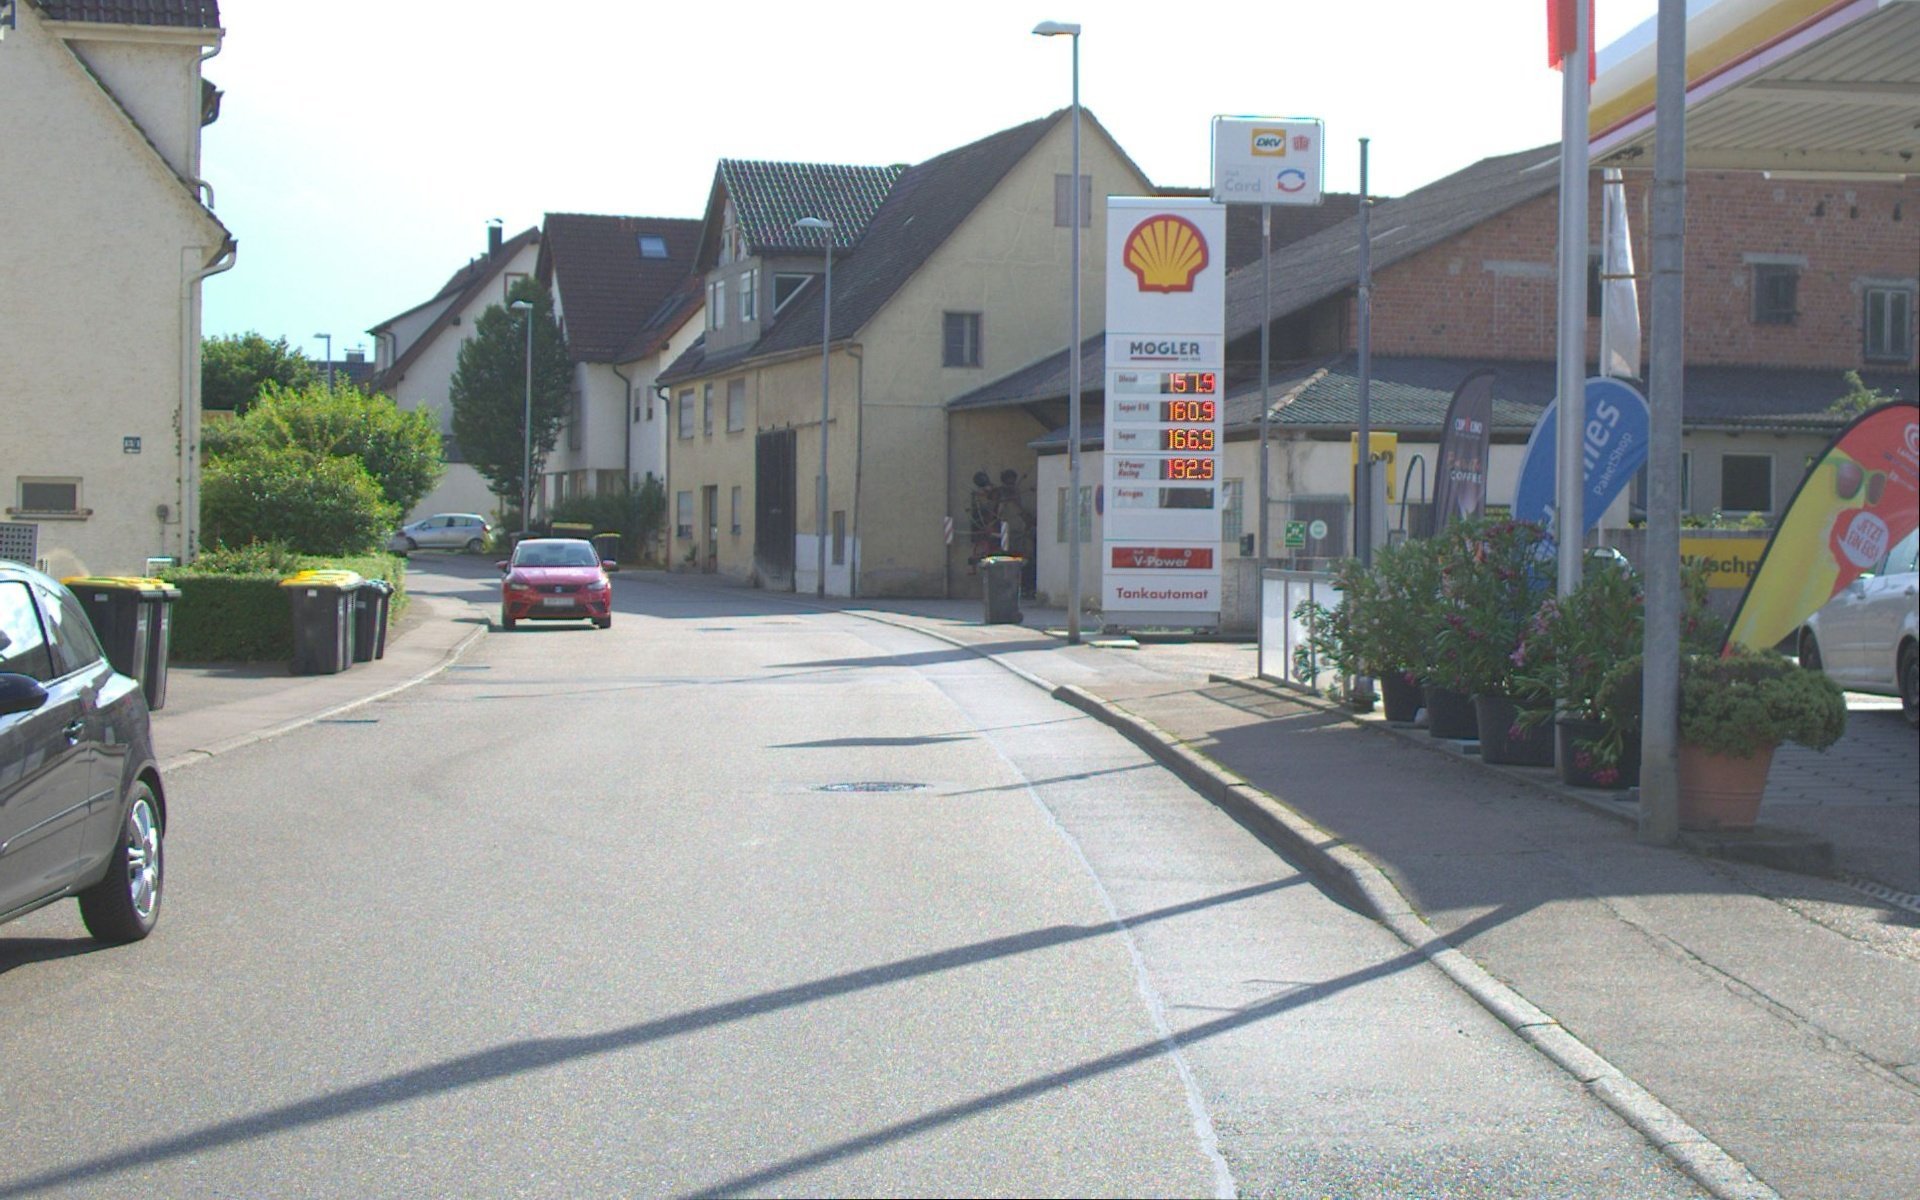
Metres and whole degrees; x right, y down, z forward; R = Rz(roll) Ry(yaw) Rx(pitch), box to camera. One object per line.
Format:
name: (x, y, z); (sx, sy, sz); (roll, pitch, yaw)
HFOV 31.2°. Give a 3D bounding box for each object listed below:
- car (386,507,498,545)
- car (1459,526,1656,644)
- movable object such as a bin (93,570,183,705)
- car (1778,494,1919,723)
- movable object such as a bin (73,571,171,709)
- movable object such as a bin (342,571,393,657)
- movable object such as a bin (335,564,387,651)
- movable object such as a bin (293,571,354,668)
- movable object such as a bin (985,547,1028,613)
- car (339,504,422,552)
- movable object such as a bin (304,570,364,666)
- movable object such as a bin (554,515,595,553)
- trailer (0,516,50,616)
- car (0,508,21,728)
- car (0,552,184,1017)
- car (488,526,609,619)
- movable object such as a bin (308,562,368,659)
car: (-18.866, -2.697, 125.107); (3.986, 1.348, 1.711); (0, 1, -10)
car: (7.825, -0.231, 45.403); (1.578, 1.422, 4.382); (1, 1, -3)
movable object such as a bin: (-6.800, 0.307, 28.458); (0.570, 1.067, 0.558); (3, 1, -2)
car: (7.380, 0.015, 25.250); (1.671, 1.572, 3.999); (0, 2, -2)
movable object such as a bin: (-6.770, 0.317, 27.795); (0.599, 1.067, 0.619); (3, 1, -2)
movable object such as a bin: (-7.158, 0.167, 41.520); (0.531, 1.019, 0.457); (-1, 1, -2)
movable object such as a bin: (-7.145, 0.091, 41.029); (0.531, 1.019, 0.457); (-1, 1, -2)
movable object such as a bin: (-7.245, 0.221, 39.164); (0.588, 1.080, 0.508); (-1, 1, -2)
movable object such as a bin: (0.761, -0.333, 56.370); (0.653, 1.070, 0.513); (0, 1, -4)
car: (-19.518, -2.430, 115.695); (1.705, 1.573, 4.001); (0, 1, -26)
movable object such as a bin: (-7.247, 0.202, 39.810); (0.588, 1.080, 0.530); (-1, 1, -2)
movable object such as a bin: (-11.767, -2.017, 104.875); (1.160, 1.164, 0.655); (0, 1, -13)
trailer: (-9.161, -0.355, 29.452); (1.331, 0.852, 2.889); (3, -1, 15)
car: (-8.763, -0.025, 23.642); (3.989, 1.533, 1.762); (5, 2, 10)
car: (-3.860, 0.577, 11.512); (1.672, 1.446, 3.835); (0, 1, 0)
car: (-6.762, -0.467, 56.266); (1.708, 1.430, 3.781); (-1, 1, -10)
movable object such as a bin: (-7.316, 0.122, 40.453); (0.588, 1.118, 0.617); (-1, 1, -2)
